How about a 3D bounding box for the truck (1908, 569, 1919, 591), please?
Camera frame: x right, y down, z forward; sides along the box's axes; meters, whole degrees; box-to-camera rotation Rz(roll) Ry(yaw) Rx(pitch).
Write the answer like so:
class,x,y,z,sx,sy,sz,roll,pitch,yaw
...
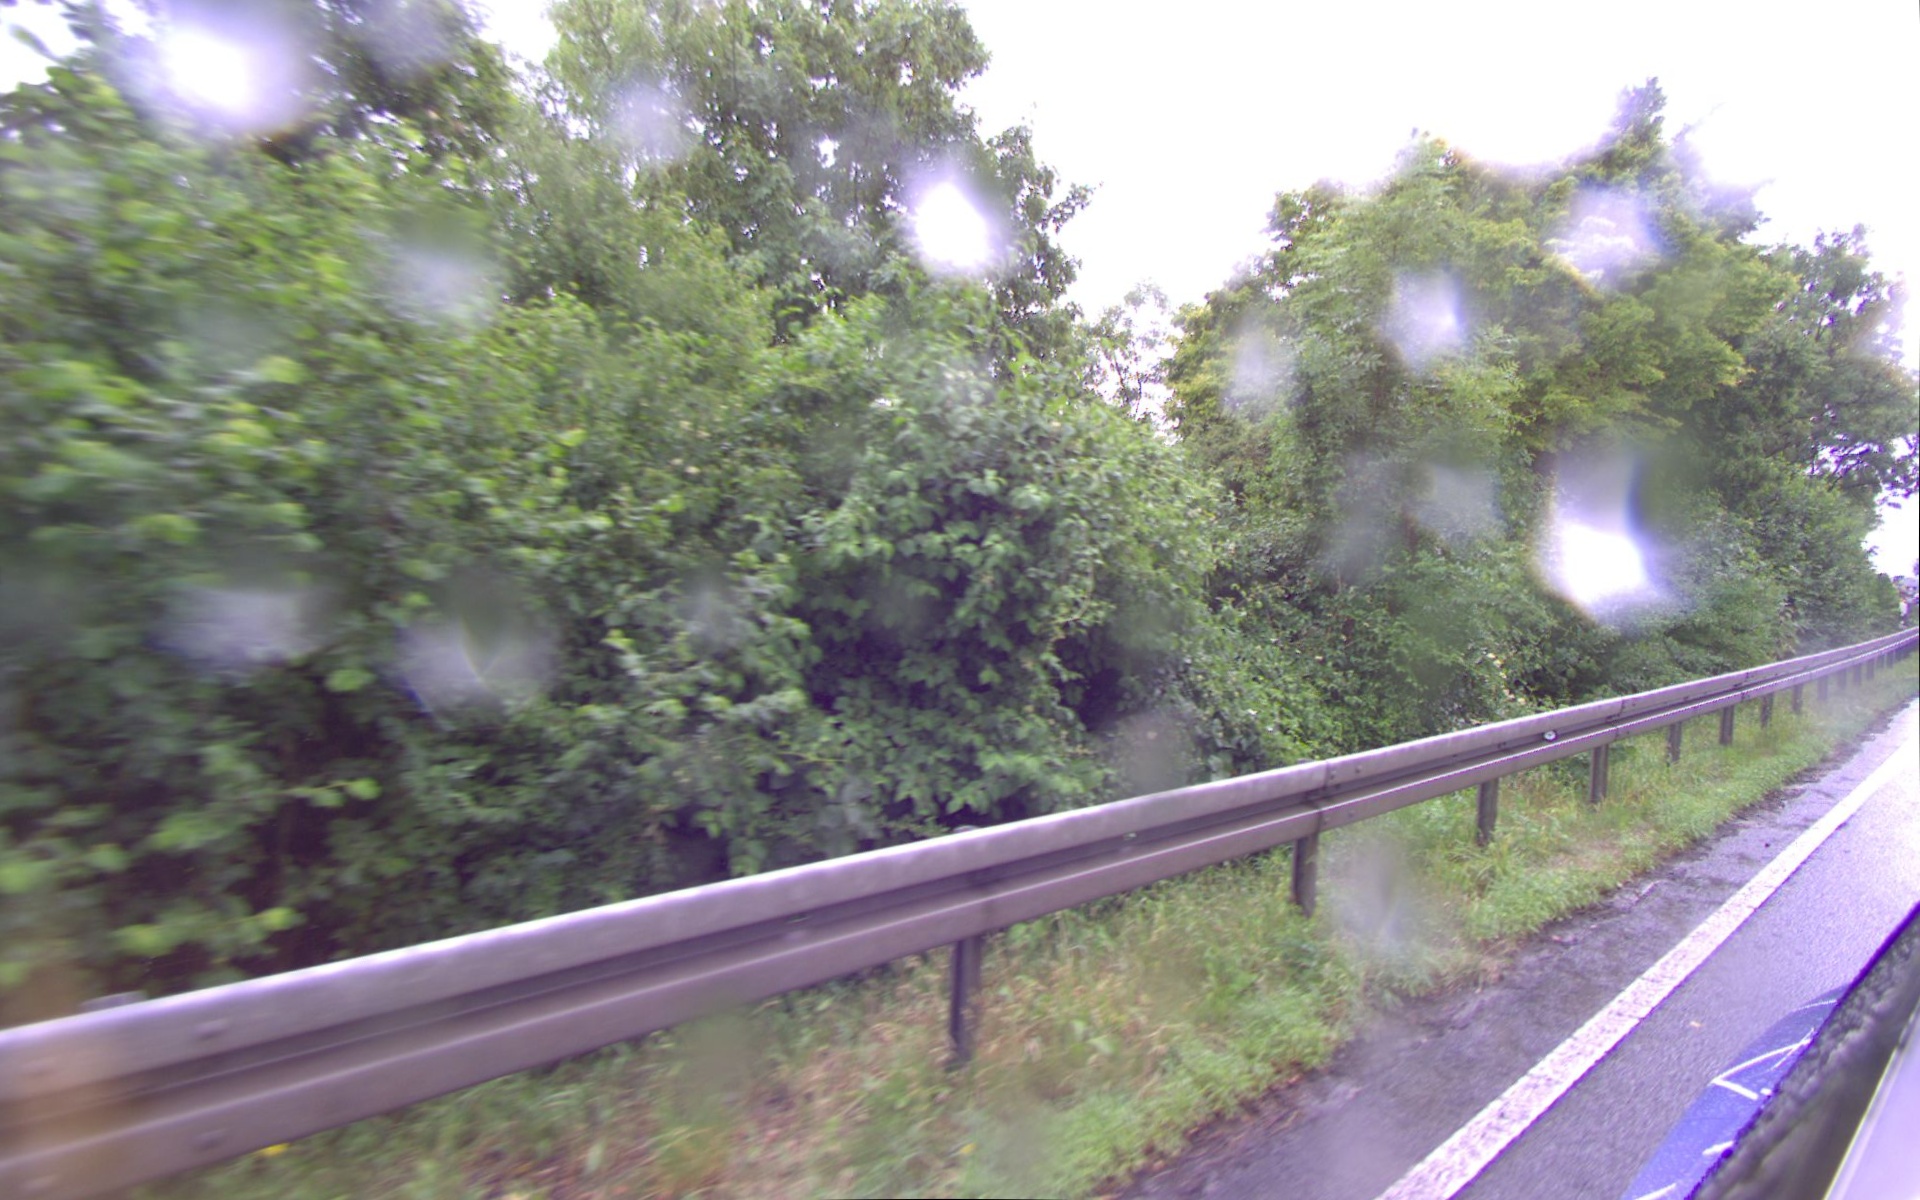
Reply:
class,x,y,z,sx,sy,sz,roll,pitch,yaw
truck,134.469,-2.829,141.303,2.419,3.037,6.851,0,1,37
